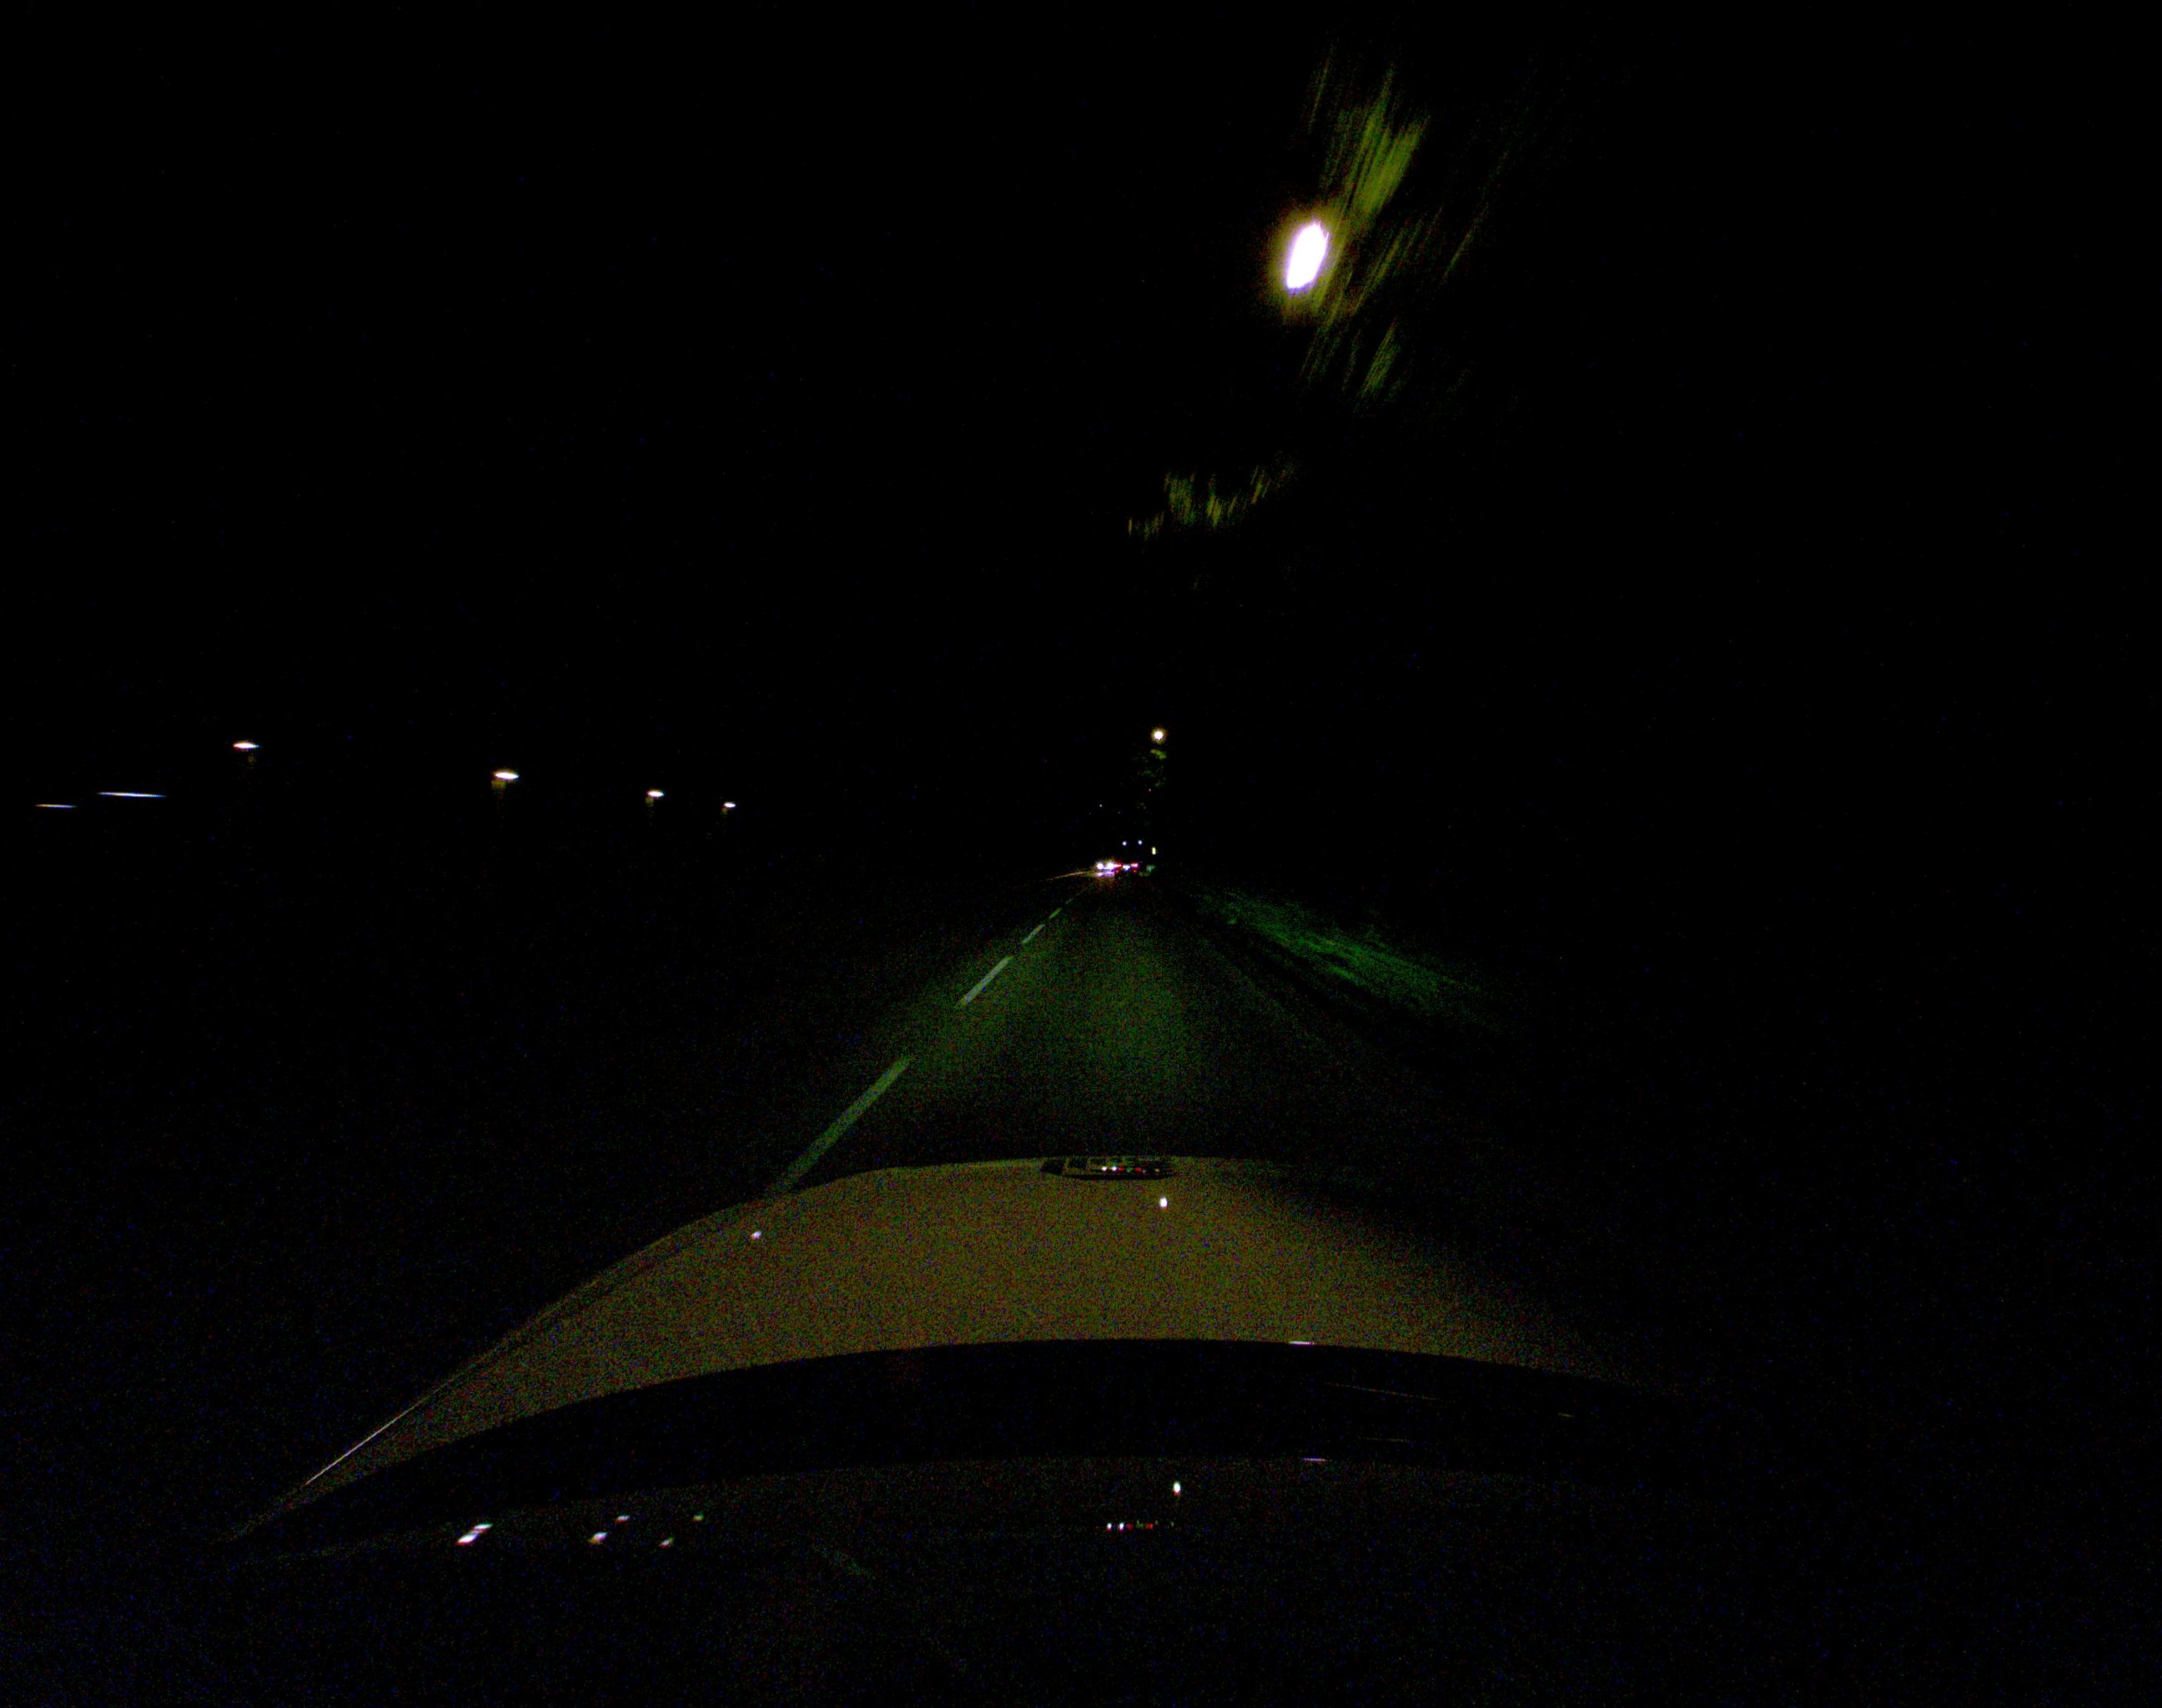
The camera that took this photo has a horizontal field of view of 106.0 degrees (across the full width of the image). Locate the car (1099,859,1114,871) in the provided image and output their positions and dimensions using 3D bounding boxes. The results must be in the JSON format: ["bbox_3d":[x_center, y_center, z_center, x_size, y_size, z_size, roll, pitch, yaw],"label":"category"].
[{"bbox_3d":[3.090,1.327,98.902,1.680,1.457,4.003,-1,-1,3],"label":"car"}]

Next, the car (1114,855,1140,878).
[{"bbox_3d":[3.389,0.919,61.088,1.757,1.642,3.723,-1,-1,1],"label":"car"}]
